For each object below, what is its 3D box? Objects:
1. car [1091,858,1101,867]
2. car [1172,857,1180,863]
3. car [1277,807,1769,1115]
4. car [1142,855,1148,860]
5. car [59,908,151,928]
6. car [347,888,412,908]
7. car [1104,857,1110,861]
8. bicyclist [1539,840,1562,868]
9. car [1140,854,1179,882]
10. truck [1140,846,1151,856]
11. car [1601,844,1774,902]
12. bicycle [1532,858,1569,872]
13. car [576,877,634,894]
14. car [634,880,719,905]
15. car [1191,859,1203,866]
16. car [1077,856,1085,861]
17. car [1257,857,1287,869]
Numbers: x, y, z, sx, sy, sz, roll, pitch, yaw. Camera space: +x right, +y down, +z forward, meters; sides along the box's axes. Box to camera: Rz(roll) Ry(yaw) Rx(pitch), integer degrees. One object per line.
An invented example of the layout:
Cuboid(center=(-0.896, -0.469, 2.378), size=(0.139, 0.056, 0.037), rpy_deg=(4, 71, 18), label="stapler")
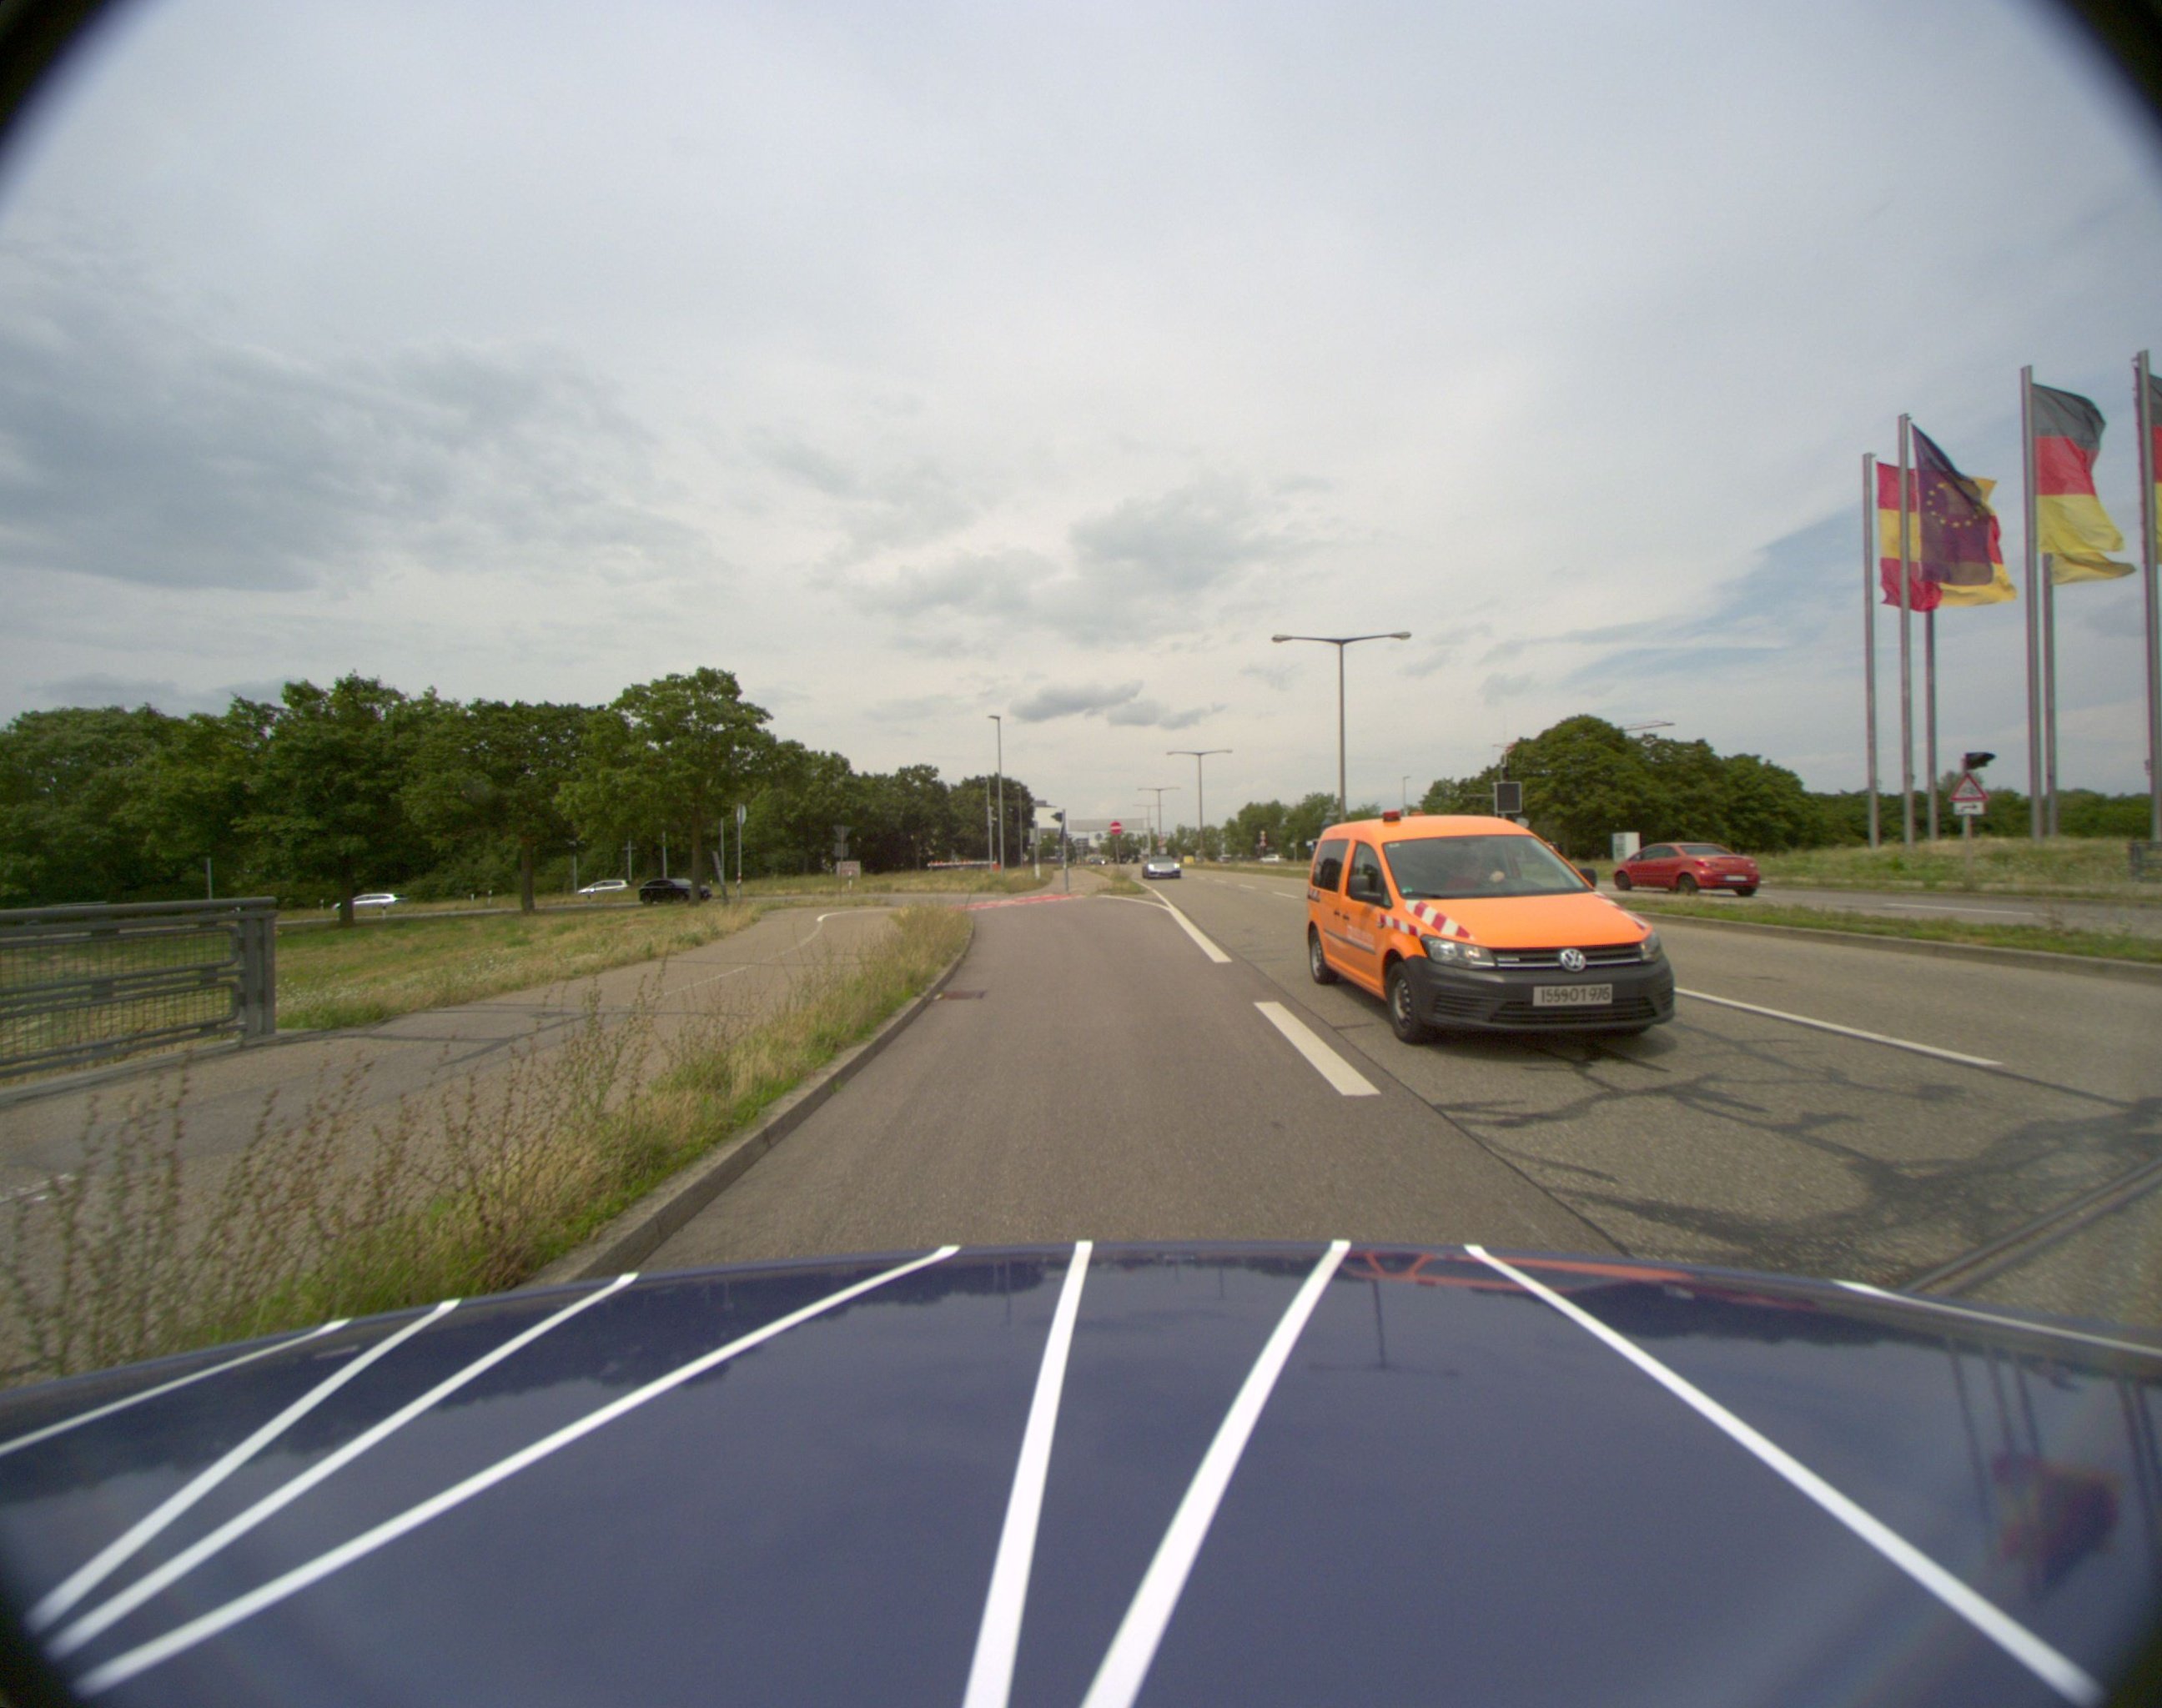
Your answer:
Cuboid(center=(2.331, 1.312, 118.208), size=(1.558, 1.230, 3.470), rpy_deg=(-2, 0, 1), label="car")
Cuboid(center=(20.879, 1.404, 166.885), size=(1.468, 1.230, 3.470), rpy_deg=(-2, 0, 1), label="car")
Cuboid(center=(3.292, 0.677, 6.892), size=(1.892, 1.824, 4.431), rpy_deg=(-2, 0, 1), label="car")
Cuboid(center=(18.906, 1.044, 224.262), size=(1.695, 1.230, 3.470), rpy_deg=(-2, 0, 1), label="car")
Cuboid(center=(-70.346, 4.623, 54.836), size=(3.687, 1.124, 1.676), rpy_deg=(-2, 0, -22), label="car")
Cuboid(center=(-54.195, 3.392, 58.744), size=(3.679, 1.265, 1.680), rpy_deg=(-2, 0, 8), label="car")
Cuboid(center=(7.599, 1.413, 219.660), size=(1.695, 1.230, 3.470), rpy_deg=(-2, 0, 1), label="car")
Cuboid(center=(27.032, 0.004, 43.744), size=(0.820, 1.583, 0.737), rpy_deg=(-2, 0, 2), label="bicyclist")
Cuboid(center=(4.380, 0.776, 42.739), size=(1.695, 1.403, 3.684), rpy_deg=(-2, 0, 0), label="car")
Cuboid(center=(13.058, -0.573, 153.784), size=(1.998, 2.002, 4.000), rpy_deg=(-2, 0, 1), label="truck")
Cuboid(center=(16.854, 0.505, 21.398), size=(1.695, 1.485, 4.000), rpy_deg=(0, 0, 1), label="car")
Cuboid(center=(27.031, 0.631, 43.798), size=(0.820, 0.729, 2.222), rpy_deg=(-2, 0, 3), label="bicycle")
Cuboid(center=(-38.713, 2.562, 61.909), size=(3.687, 1.124, 1.676), rpy_deg=(-2, 0, -22), label="car")
Cuboid(center=(-24.232, 2.315, 45.552), size=(4.236, 1.275, 1.805), rpy_deg=(-3, 0, 10), label="car")
Cuboid(center=(21.993, 1.523, 144.132), size=(1.695, 1.230, 3.470), rpy_deg=(-2, 0, 1), label="car")
Cuboid(center=(-0.017, 1.116, 189.148), size=(1.695, 1.230, 3.470), rpy_deg=(-2, 0, 1), label="car")
Cuboid(center=(27.196, 1.296, 108.241), size=(3.631, 1.456, 1.700), rpy_deg=(-3, 0, 42), label="car")
